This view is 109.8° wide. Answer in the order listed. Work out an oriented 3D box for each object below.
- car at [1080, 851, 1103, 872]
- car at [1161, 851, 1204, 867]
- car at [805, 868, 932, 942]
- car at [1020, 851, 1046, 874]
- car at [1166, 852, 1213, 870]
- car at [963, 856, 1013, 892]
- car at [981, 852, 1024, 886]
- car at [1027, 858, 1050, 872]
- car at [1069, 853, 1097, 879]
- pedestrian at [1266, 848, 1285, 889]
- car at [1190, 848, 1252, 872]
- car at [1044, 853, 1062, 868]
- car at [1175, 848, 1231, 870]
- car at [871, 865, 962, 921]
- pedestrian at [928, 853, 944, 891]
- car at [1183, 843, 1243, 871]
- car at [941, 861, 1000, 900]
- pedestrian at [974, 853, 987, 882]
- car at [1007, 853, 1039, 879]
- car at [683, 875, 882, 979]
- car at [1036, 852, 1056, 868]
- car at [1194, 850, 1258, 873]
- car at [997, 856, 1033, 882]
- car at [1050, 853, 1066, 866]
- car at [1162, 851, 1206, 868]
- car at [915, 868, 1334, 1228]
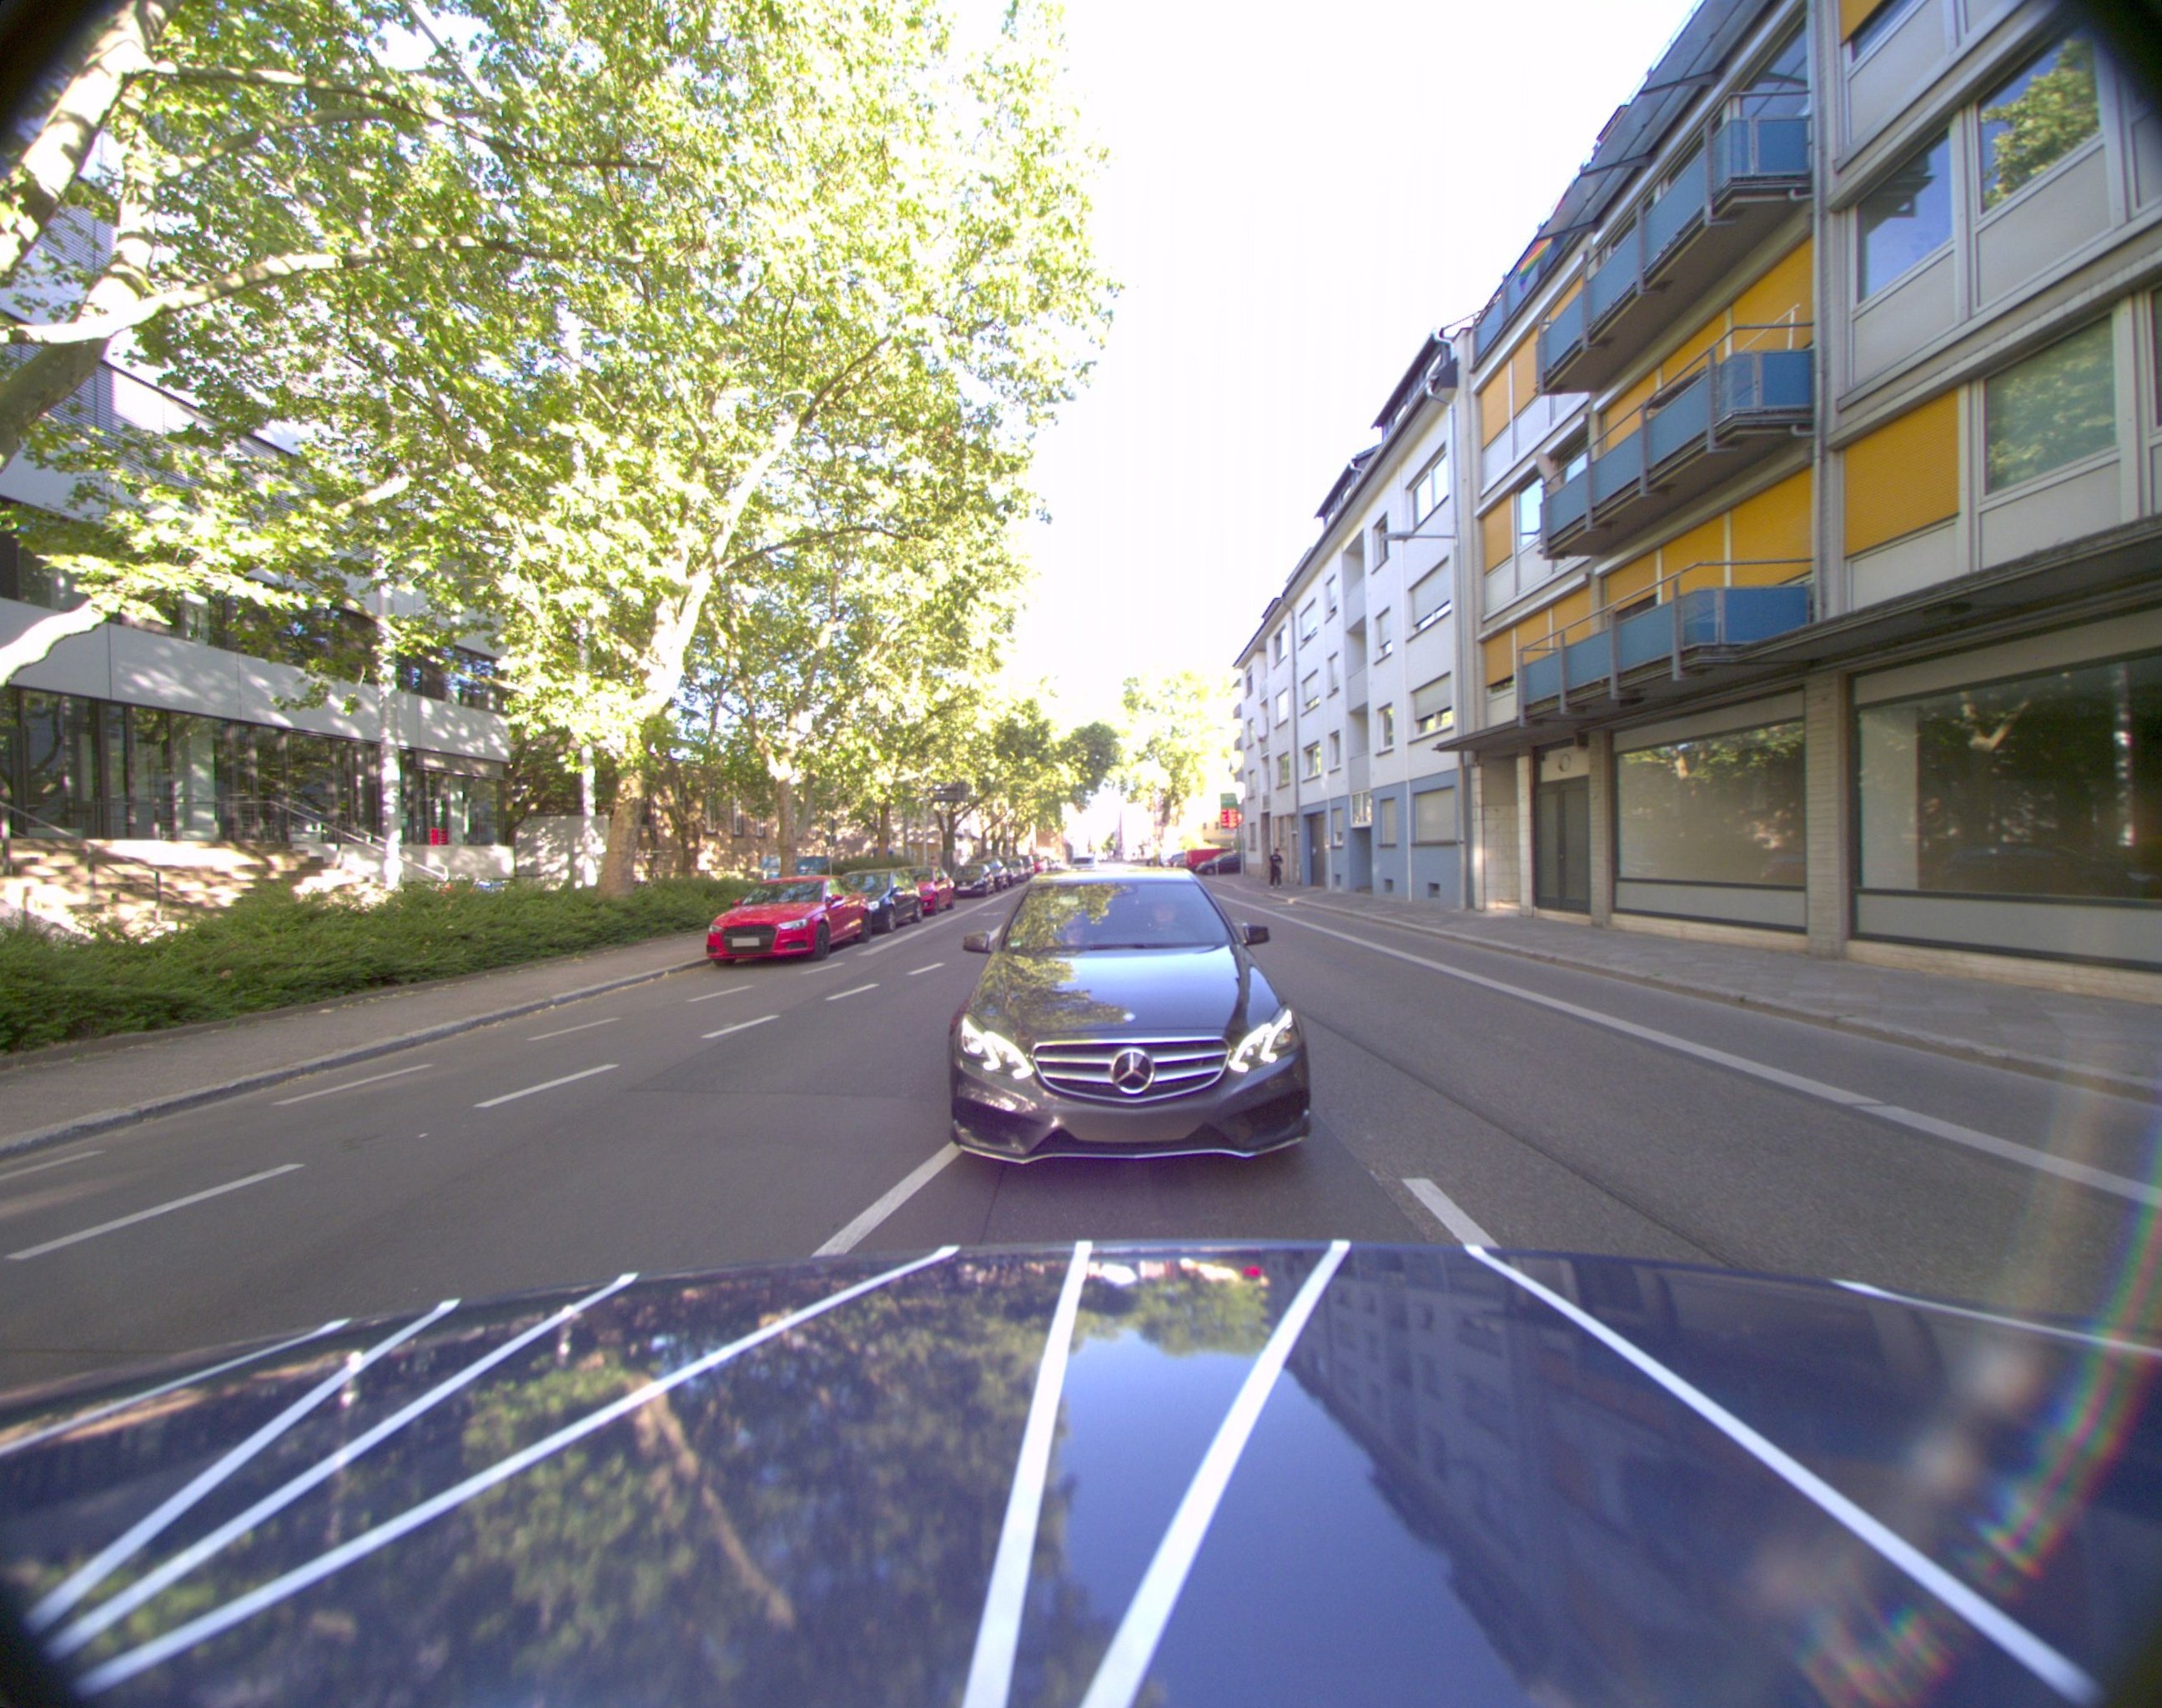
[{"bbox_3d":[0.928,0.598,66.075,1.908,1.678,4.813,-2,0,1],"label":"car"},{"bbox_3d":[10.772,0.523,80.615,4.255,1.461,1.653,-4,0,1],"label":"car"},{"bbox_3d":[-5.041,1.152,18.630,1.835,1.438,4.168,-2,0,1],"label":"car"},{"bbox_3d":[-4.147,0.687,66.347,1.835,1.839,4.259,-2,0,1],"label":"car"},{"bbox_3d":[10.431,0.682,73.192,4.255,1.461,1.653,-4,0,1],"label":"car"},{"bbox_3d":[-4.597,0.968,38.074,1.835,1.596,4.161,-2,0,1],"label":"car"},{"bbox_3d":[-4.511,0.826,44.114,1.835,1.787,4.463,-2,0,1],"label":"car"},{"bbox_3d":[-3.992,1.032,71.787,1.835,1.220,4.259,-2,0,1],"label":"car"},{"bbox_3d":[0.167,0.747,49.070,1.726,1.530,4.000,-1,0,1],"label":"car"},{"bbox_3d":[8.227,0.609,32.211,0.612,1.685,0.655,-2,1,1],"label":"pedestrian"},{"bbox_3d":[10.483,0.462,57.049,4.255,1.461,1.653,-4,0,1],"label":"car"},{"bbox_3d":[-3.414,0.793,92.842,1.835,1.667,4.259,-2,0,1],"label":"car"},{"bbox_3d":[10.051,0.416,62.711,4.255,1.461,1.653,-4,0,1],"label":"car"},{"bbox_3d":[-5.043,1.137,23.840,1.835,1.459,4.168,-2,0,1],"label":"car"},{"bbox_3d":[-7.032,0.868,36.848,0.601,1.785,0.593,-2,1,0],"label":"pedestrian"},{"bbox_3d":[10.414,0.230,60.129,4.255,1.907,1.818,-4,0,0],"label":"car"},{"bbox_3d":[-4.746,1.107,33.176,1.835,1.459,4.168,-2,0,1],"label":"car"},{"bbox_3d":[-6.484,0.887,49.079,0.660,1.849,0.641,-1,1,1],"label":"pedestrian"},{"bbox_3d":[-4.181,0.817,55.639,1.835,1.750,4.259,-2,0,1],"label":"car"},{"bbox_3d":[-5.130,1.179,13.769,1.835,1.396,4.247,-2,0,1],"label":"car"},{"bbox_3d":[-3.941,0.674,86.226,1.835,1.667,4.259,-2,0,1],"label":"car"},{"bbox_3d":[10.399,0.525,54.747,4.255,1.392,1.653,-4,0,1],"label":"car"},{"bbox_3d":[-4.339,0.951,50.607,1.835,1.604,4.259,-2,0,1],"label":"car"},{"bbox_3d":[-3.049,0.693,102.949,1.835,1.667,4.259,-2,0,1],"label":"car"},{"bbox_3d":[10.601,0.549,78.650,4.255,1.461,1.653,-4,0,1],"label":"car"},{"bbox_3d":[0.225,0.919,5.571,1.849,1.490,4.302,-1,0,1],"label":"car"}]
